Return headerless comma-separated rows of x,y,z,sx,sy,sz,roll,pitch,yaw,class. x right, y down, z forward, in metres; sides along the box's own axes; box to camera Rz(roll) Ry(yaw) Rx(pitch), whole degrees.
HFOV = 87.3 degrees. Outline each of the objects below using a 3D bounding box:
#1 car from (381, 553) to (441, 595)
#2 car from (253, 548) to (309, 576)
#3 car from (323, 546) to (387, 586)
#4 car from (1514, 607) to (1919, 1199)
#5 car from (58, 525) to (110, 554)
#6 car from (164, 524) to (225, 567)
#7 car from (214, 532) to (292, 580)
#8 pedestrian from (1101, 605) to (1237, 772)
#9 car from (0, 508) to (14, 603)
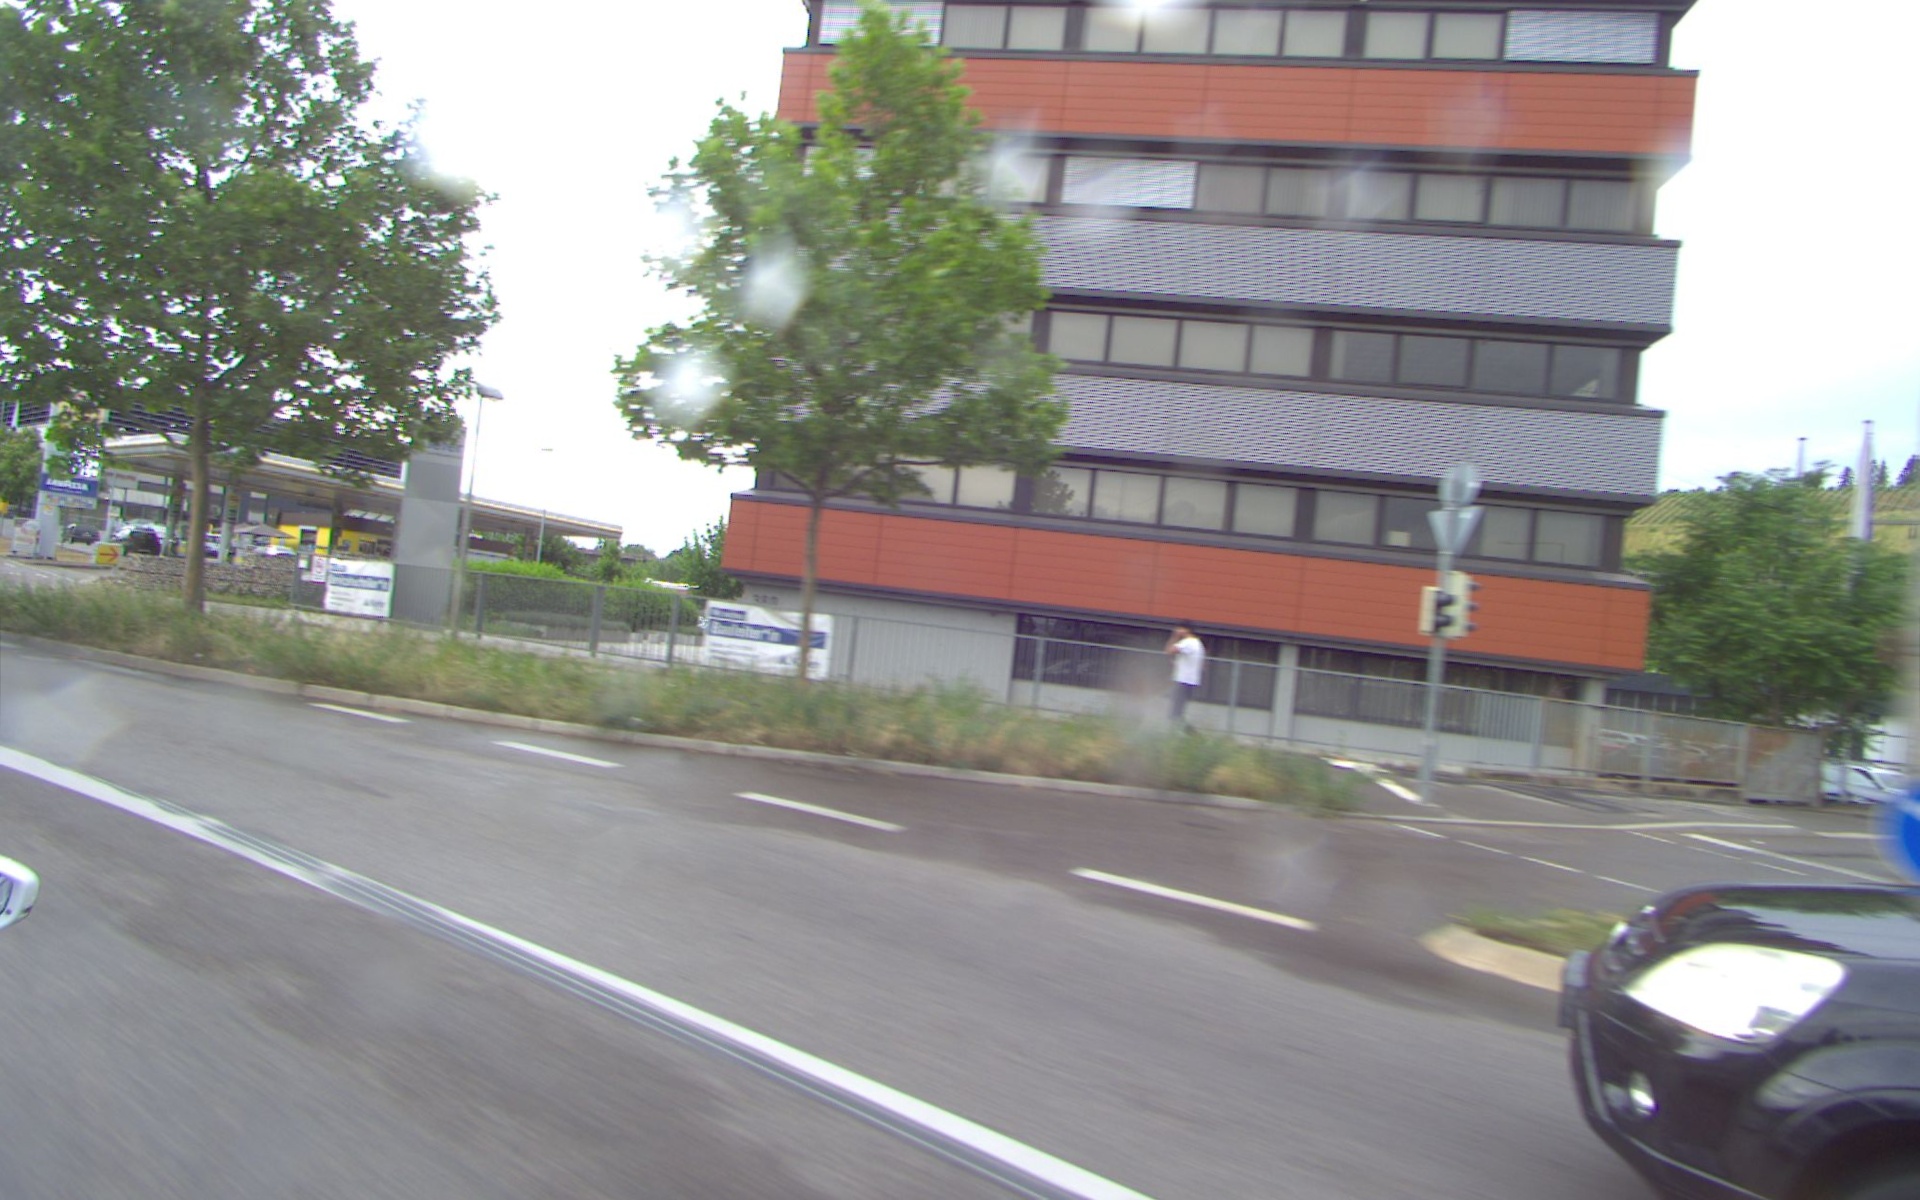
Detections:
-32.163,-1.543,58.920,3.090,2.035,1.678,5,-4,37,car
-49.080,-2.739,72.703,3.939,1.614,1.994,5,-2,36,car
-38.776,-2.158,64.453,3.713,2.035,1.875,5,-4,33,car
3.650,1.138,1.969,4.257,1.647,1.769,6,-4,35,car
-61.732,-4.271,70.878,3.939,1.610,1.792,5,-2,36,car
-43.270,-3.070,56.831,3.490,2.035,1.681,5,-5,38,car
-36.108,-2.248,51.344,3.940,2.056,1.994,5,-2,37,car
2.956,1.245,14.269,1.137,2.152,1.210,7,0,-36,pedestrian
-13.477,-0.494,12.141,3.933,1.674,1.834,5,-4,31,car
